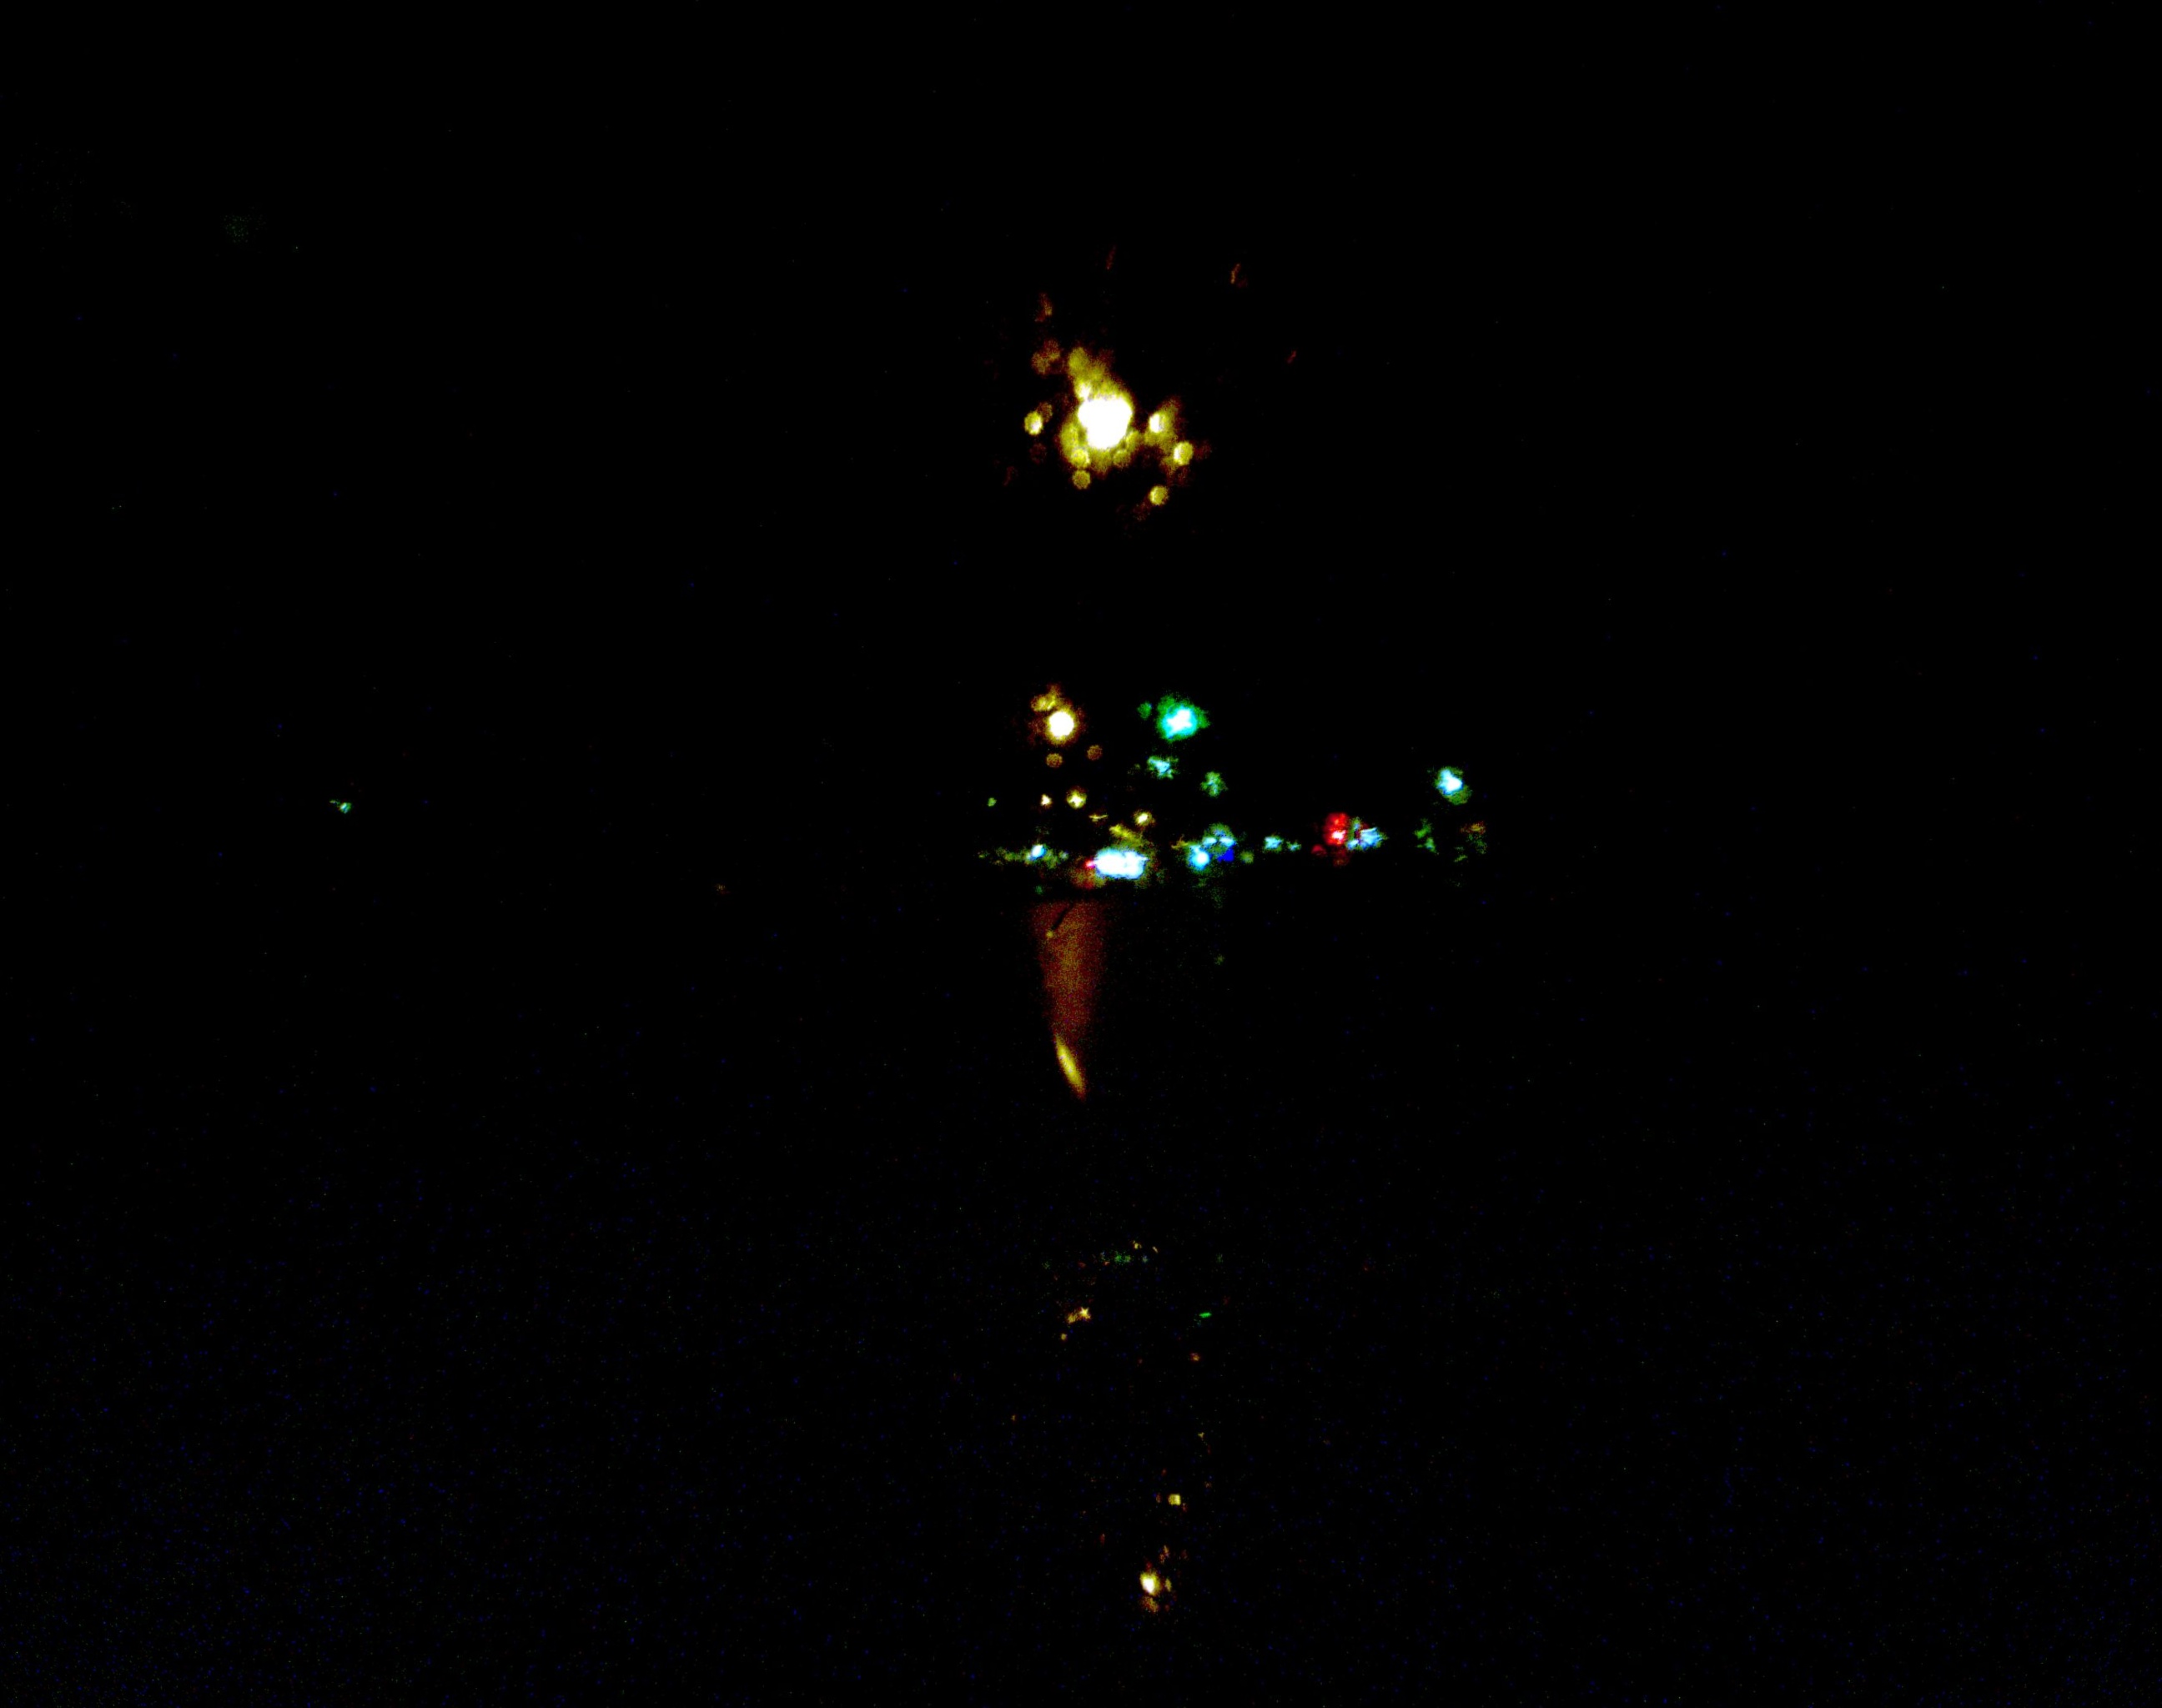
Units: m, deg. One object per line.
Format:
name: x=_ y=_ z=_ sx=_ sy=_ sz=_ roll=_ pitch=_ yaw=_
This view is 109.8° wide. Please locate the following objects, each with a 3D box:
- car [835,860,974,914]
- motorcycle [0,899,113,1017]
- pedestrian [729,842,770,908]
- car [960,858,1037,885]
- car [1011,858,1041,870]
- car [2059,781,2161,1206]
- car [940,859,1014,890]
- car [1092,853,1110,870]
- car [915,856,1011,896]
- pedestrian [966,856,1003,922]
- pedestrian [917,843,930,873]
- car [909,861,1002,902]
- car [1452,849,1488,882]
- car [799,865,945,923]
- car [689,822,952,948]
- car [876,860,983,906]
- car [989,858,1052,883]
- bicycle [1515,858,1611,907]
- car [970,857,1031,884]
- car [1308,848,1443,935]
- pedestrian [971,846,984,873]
car: x=-5.680 y=1.003 z=24.505 sx=4.058 sy=1.552 sz=1.747 roll=-1 pitch=0 yaw=-27
motorcycle: x=-10.432 y=1.011 z=7.153 sx=0.524 sy=1.061 sz=1.624 roll=-2 pitch=0 yaw=0
pedestrian: x=-9.449 y=0.610 z=21.711 sx=0.747 sy=1.829 sz=0.843 roll=1 pitch=-2 yaw=1
car: x=-4.669 y=1.010 z=43.450 sx=4.123 sy=1.483 sz=1.590 roll=1 pitch=0 yaw=-36
car: x=-6.716 y=1.164 z=92.885 sx=1.832 sy=1.417 sz=4.195 roll=-1 pitch=0 yaw=-34
car: x=5.474 y=0.596 z=1.173 sx=1.871 sy=1.835 sz=4.828 roll=-1 pitch=0 yaw=3
car: x=-5.480 y=1.041 z=40.145 sx=3.488 sy=1.552 sz=1.633 roll=-1 pitch=0 yaw=-32
car: x=2.114 y=0.775 z=79.606 sx=1.810 sy=1.759 sz=4.273 roll=-2 pitch=0 yaw=2
car: x=-5.273 y=0.930 z=33.917 sx=3.808 sy=1.679 sz=1.832 roll=-1 pitch=0 yaw=-28
pedestrian: x=-2.641 y=0.936 z=20.966 sx=0.824 sy=1.760 sz=1.177 roll=-1 pitch=0 yaw=2
pedestrian: x=-8.760 y=0.241 z=42.316 sx=0.575 sy=1.654 sz=0.601 roll=1 pitch=-2 yaw=1
car: x=-5.158 y=1.084 z=31.398 sx=3.403 sy=1.552 sz=1.590 roll=-1 pitch=0 yaw=-35
car: x=21.612 y=0.618 z=42.267 sx=1.696 sy=1.717 sz=4.008 roll=1 pitch=0 yaw=26
car: x=-5.981 y=1.094 z=21.794 sx=3.736 sy=1.460 sz=1.610 roll=-1 pitch=0 yaw=-29
car: x=-5.518 y=0.560 z=16.290 sx=4.950 sy=2.327 sz=2.226 roll=-1 pitch=0 yaw=-32
car: x=-5.552 y=1.007 z=27.971 sx=3.517 sy=1.552 sz=1.590 roll=-1 pitch=0 yaw=-34
car: x=-3.851 y=1.020 z=48.632 sx=3.608 sy=1.552 sz=1.707 roll=-1 pitch=0 yaw=-36
bicycle: x=12.016 y=0.699 z=19.011 sx=1.966 sy=1.174 sz=0.542 roll=0 pitch=1 yaw=20
car: x=-4.903 y=0.998 z=46.396 sx=3.403 sy=1.583 sz=1.590 roll=1 pitch=0 yaw=-34
car: x=6.328 y=0.731 z=16.871 sx=1.815 sy=1.660 sz=4.414 roll=-1 pitch=0 yaw=8
pedestrian: x=-7.595 y=0.416 z=55.660 sx=0.806 sy=1.894 sz=0.884 roll=1 pitch=-2 yaw=1
